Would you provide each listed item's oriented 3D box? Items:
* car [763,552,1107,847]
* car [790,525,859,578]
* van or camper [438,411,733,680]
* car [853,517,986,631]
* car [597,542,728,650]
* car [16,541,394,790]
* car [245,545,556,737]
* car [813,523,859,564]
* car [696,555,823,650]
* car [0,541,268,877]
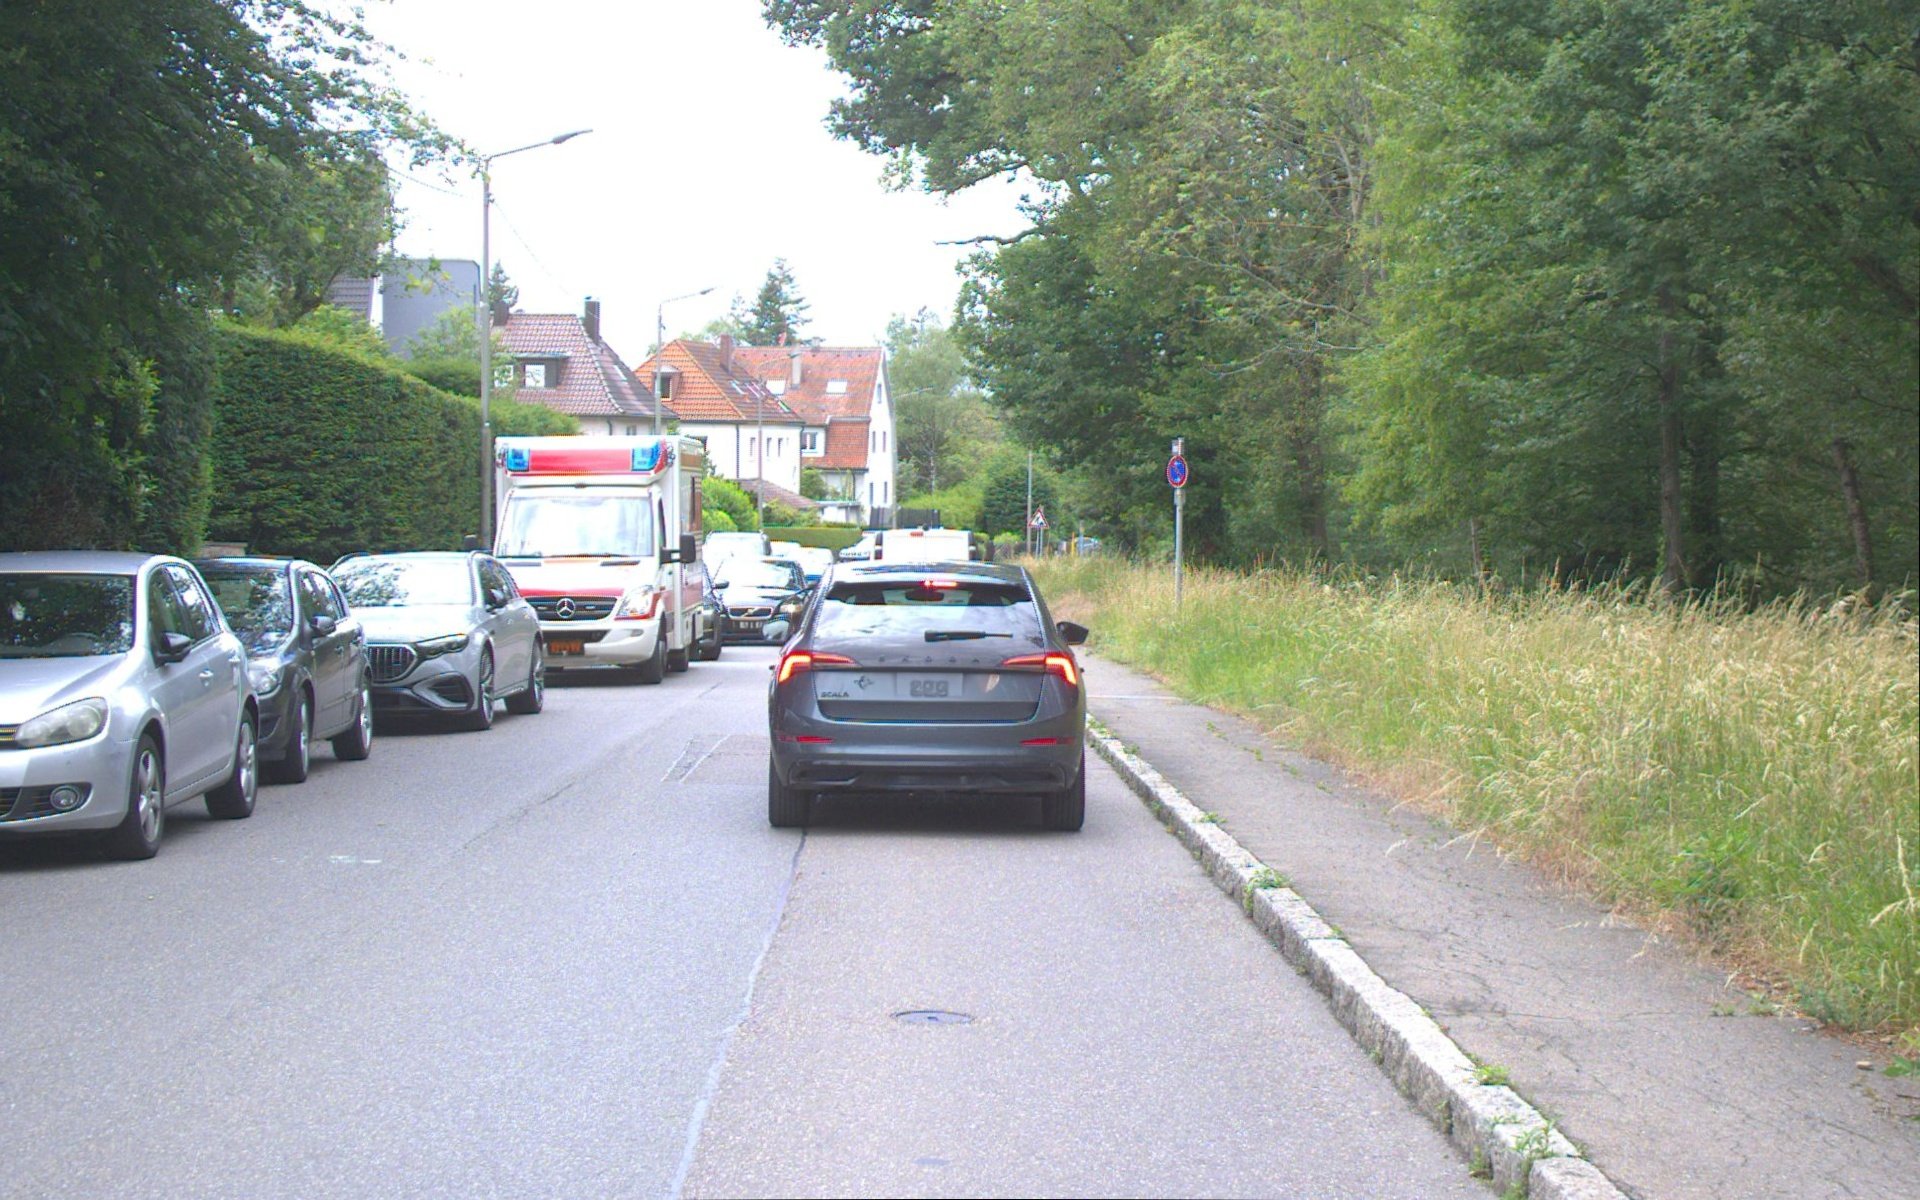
[{"bbox_3d":[-0.252,0.488,19.955,1.727,1.434,4.324,2,1,-4],"label":"car"},{"bbox_3d":[-3.822,-1.388,97.604,1.863,1.409,4.593,2,1,-2],"label":"car"},{"bbox_3d":[-4.278,-0.654,40.635,2.456,2.885,7.168,0,1,2],"label":"van or camper"},{"bbox_3d":[-0.781,-0.502,62.035,2.071,1.915,4.923,2,1,-4],"label":"car"},{"bbox_3d":[-4.180,-0.094,48.730,1.763,1.441,4.474,0,1,-4],"label":"car"},{"bbox_3d":[-5.003,0.373,23.299,1.720,1.499,4.061,-1,1,-1],"label":"car"},{"bbox_3d":[-4.753,0.290,29.893,1.798,1.499,4.863,-1,1,1],"label":"car"},{"bbox_3d":[-5.135,-2.354,142.935,1.833,1.591,4.324,2,2,-1],"label":"car"},{"bbox_3d":[-3.210,0.007,55.734,1.763,1.441,4.474,0,1,0],"label":"car"},{"bbox_3d":[-4.724,0.472,17.439,1.720,1.499,4.008,-1,1,-2],"label":"car"}]
